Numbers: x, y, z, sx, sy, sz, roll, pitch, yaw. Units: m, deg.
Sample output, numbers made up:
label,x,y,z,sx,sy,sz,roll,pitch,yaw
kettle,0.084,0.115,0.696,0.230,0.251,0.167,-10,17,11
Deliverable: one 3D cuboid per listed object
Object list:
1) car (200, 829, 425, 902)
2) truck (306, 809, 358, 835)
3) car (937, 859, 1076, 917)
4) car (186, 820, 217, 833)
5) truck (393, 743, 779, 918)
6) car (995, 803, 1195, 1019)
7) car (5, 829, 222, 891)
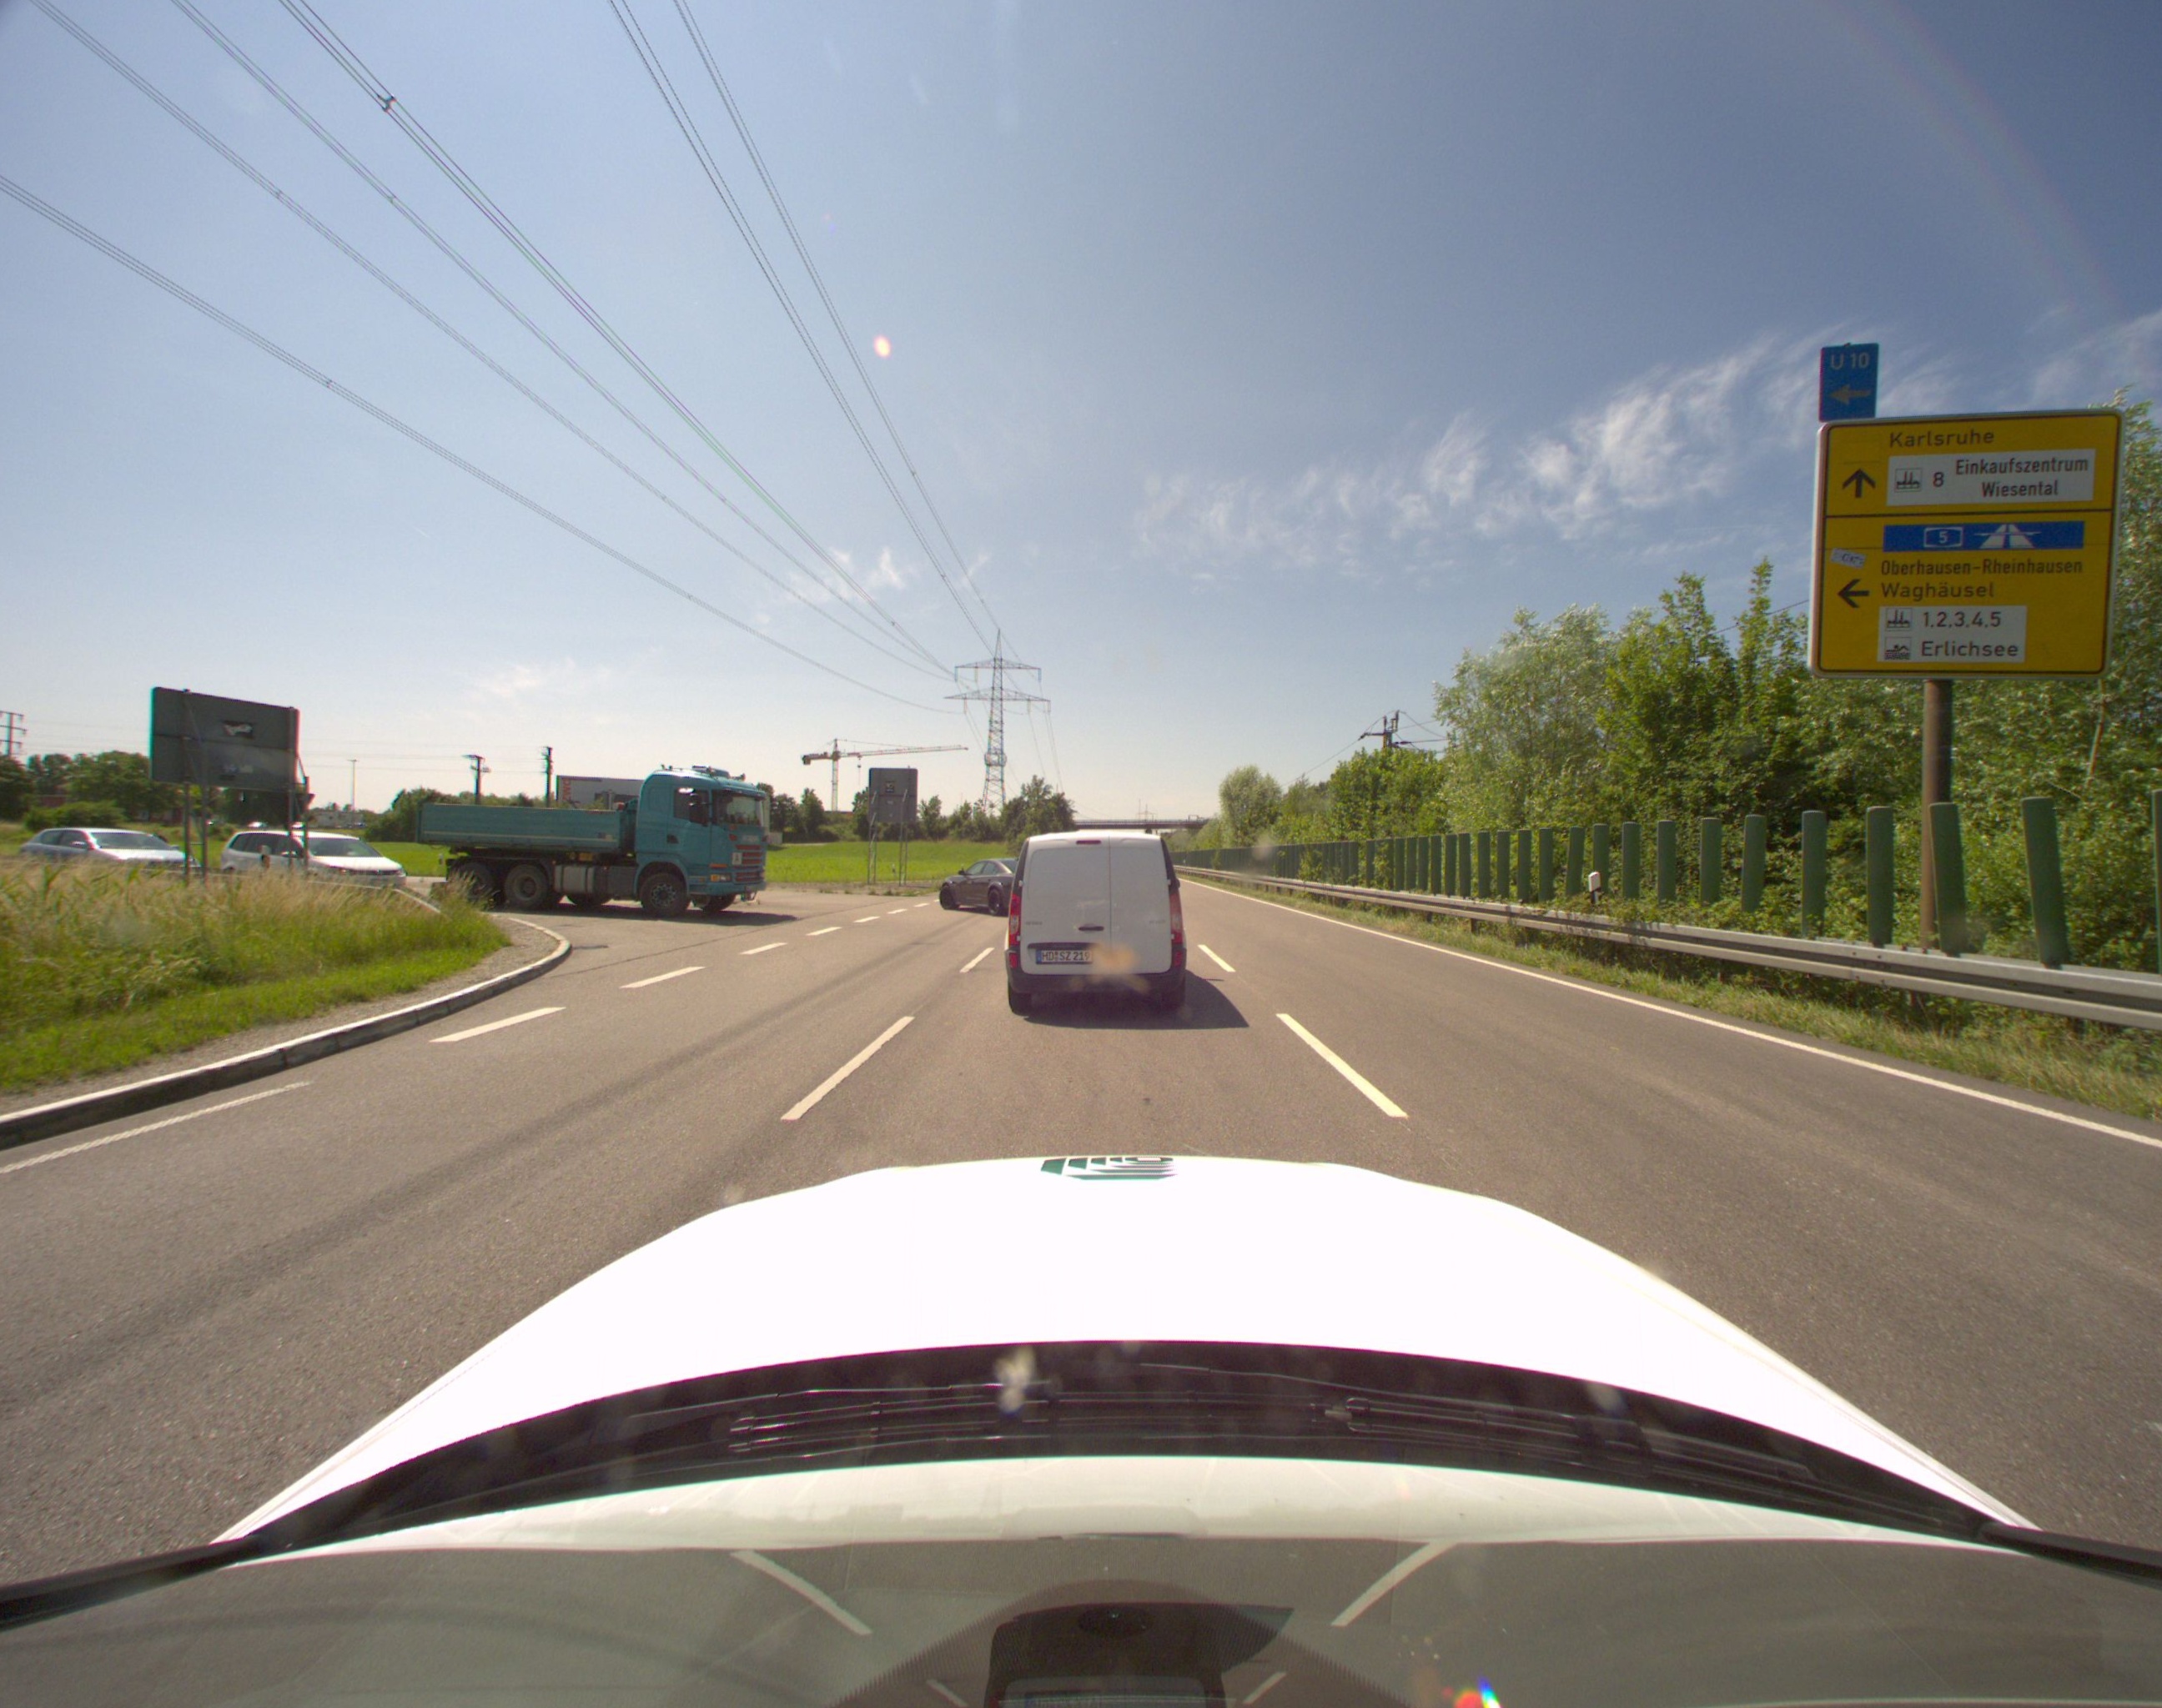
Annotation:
label,x,y,z,sx,sy,sz,roll,pitch,yaw
car,-19.084,0.246,20.274,4.507,1.612,1.976,1,0,15
truck,-150.259,-6.324,163.638,3.696,4.646,13.132,1,0,-25
car,-2.159,0.862,22.410,1.869,1.396,4.605,1,-1,-33
car,-130.587,-4.050,120.936,2.006,1.679,3.961,0,0,-31
truck,-11.835,-0.559,19.880,7.870,3.734,2.500,2,0,3
car,0.137,0.524,9.473,1.821,1.971,3.999,-1,0,0
car,-25.185,0.128,21.238,4.402,1.470,1.724,1,0,12
